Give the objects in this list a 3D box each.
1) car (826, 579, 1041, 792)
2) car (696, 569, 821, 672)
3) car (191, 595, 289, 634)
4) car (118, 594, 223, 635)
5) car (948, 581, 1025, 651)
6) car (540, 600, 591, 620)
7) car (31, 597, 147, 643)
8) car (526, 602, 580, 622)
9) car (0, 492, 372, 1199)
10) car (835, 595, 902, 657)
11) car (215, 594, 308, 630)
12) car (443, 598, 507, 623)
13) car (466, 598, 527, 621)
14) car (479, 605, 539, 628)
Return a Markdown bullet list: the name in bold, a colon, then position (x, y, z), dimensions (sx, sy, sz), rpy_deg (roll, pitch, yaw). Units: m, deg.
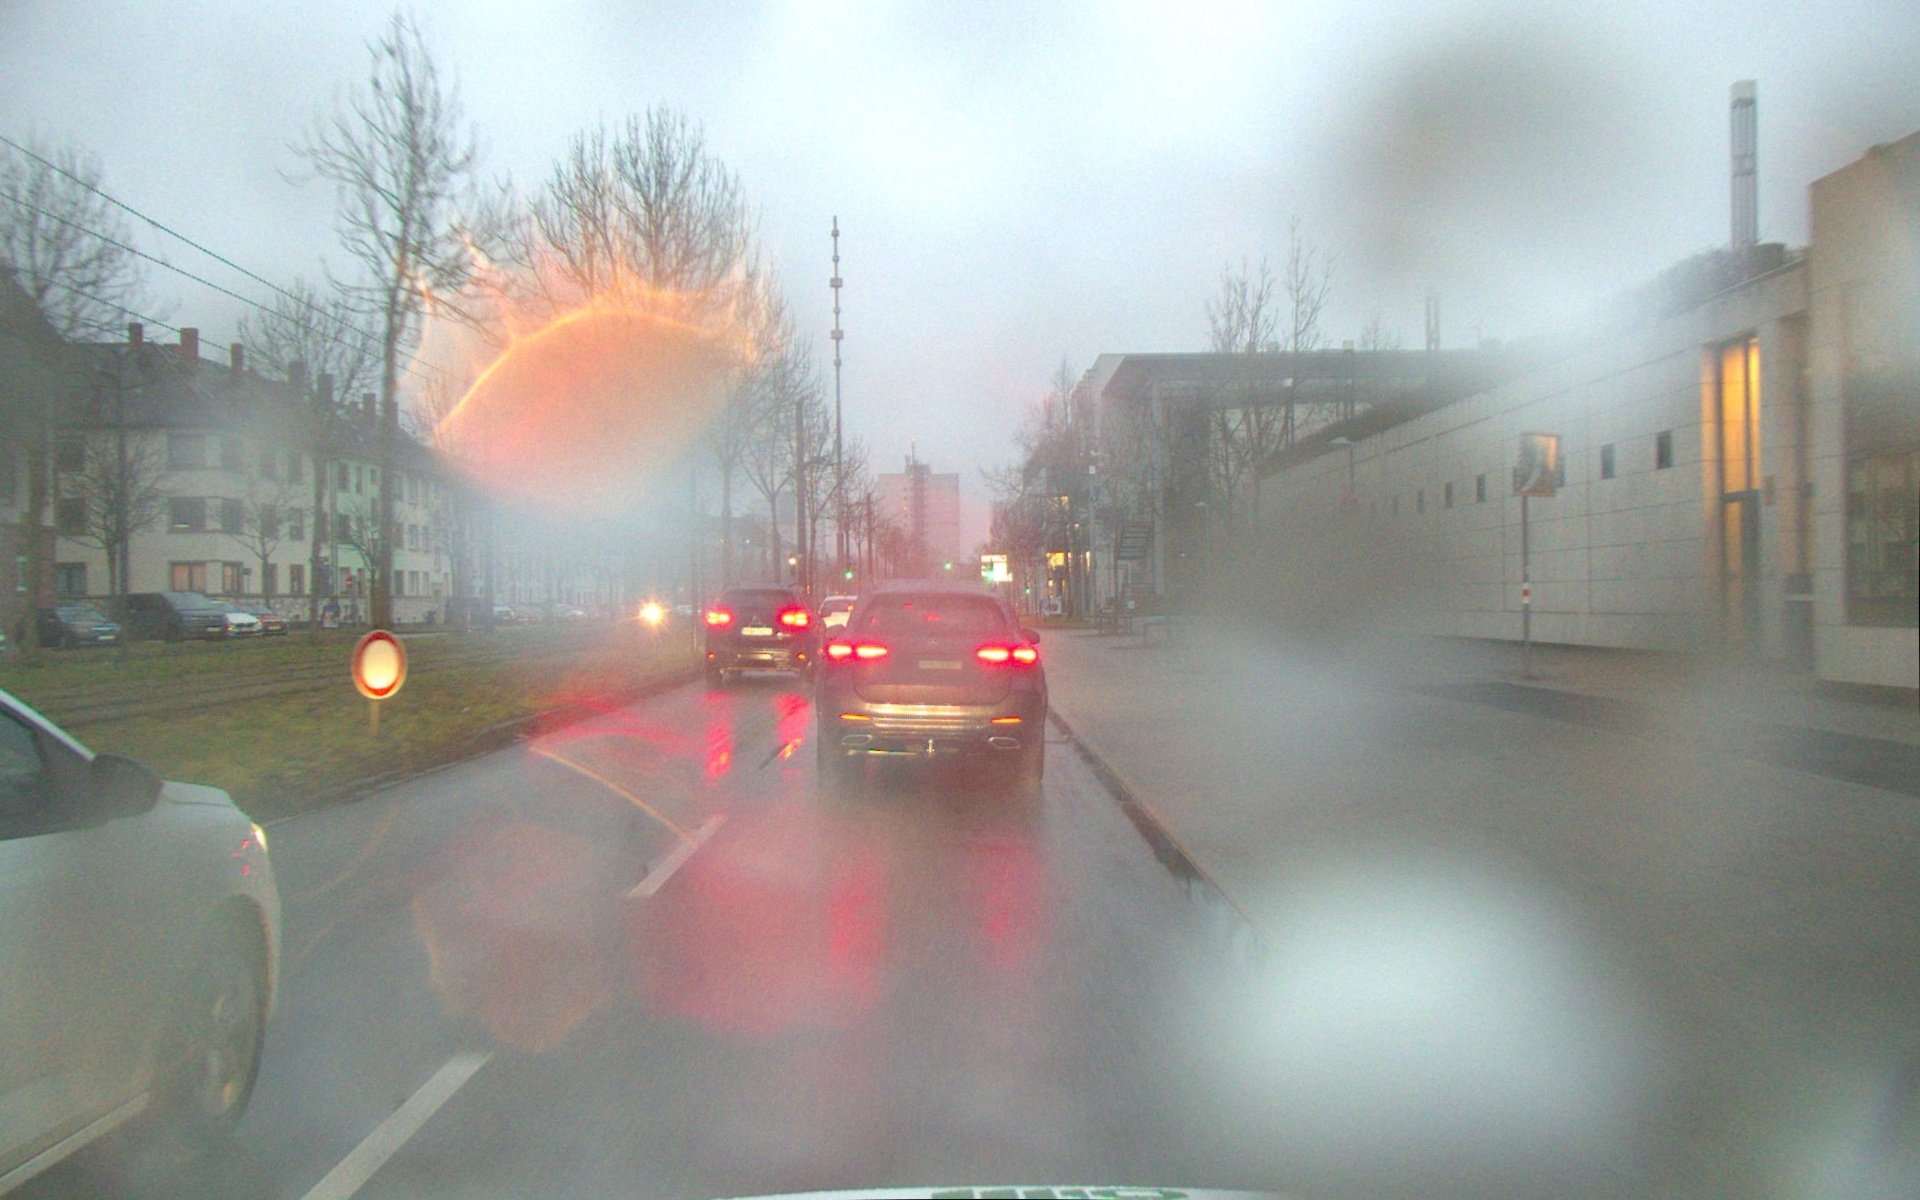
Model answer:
- **car**: position (-0.198, 0.665, 14.762), dimensions (1.637, 1.628, 4.053), rpy_deg (0, 0, 0)
- **car**: position (-3.395, 0.332, 28.522), dimensions (1.637, 1.628, 4.053), rpy_deg (0, 0, 0)
- **car**: position (-26.912, 0.550, 61.802), dimensions (3.482, 1.378, 1.777), rpy_deg (-1, 0, 33)
- **car**: position (-27.726, 0.503, 58.066), dimensions (3.482, 1.378, 1.777), rpy_deg (-1, 0, 33)
- **car**: position (0.686, 0.415, 44.253), dimensions (1.953, 1.774, 4.000), rpy_deg (-1, 0, 0)
- **car**: position (-29.287, 0.730, 122.660), dimensions (3.482, 1.378, 1.777), rpy_deg (-1, 0, 33)
- **car**: position (-27.489, 0.616, 52.196), dimensions (3.482, 1.378, 1.777), rpy_deg (-1, 0, 33)
- **car**: position (-28.585, 0.847, 116.189), dimensions (3.482, 1.378, 1.777), rpy_deg (-1, 0, 33)
- **car**: position (-2.610, 0.607, 3.004), dimensions (1.638, 1.628, 4.053), rpy_deg (0, 0, 0)
- **car**: position (-2.497, 0.683, 45.888), dimensions (1.637, 1.628, 4.053), rpy_deg (0, 0, 0)
- **car**: position (-27.815, 0.485, 65.840), dimensions (3.482, 1.378, 1.777), rpy_deg (-1, 0, 33)
- **car**: position (-28.384, 0.614, 96.756), dimensions (3.482, 1.378, 1.777), rpy_deg (-1, 0, 33)
- **car**: position (-28.344, 0.571, 101.118), dimensions (3.482, 1.378, 1.729), rpy_deg (-1, 0, 33)
- **car**: position (-28.291, 1.059, 103.663), dimensions (3.482, 1.378, 1.777), rpy_deg (-1, 0, 33)
